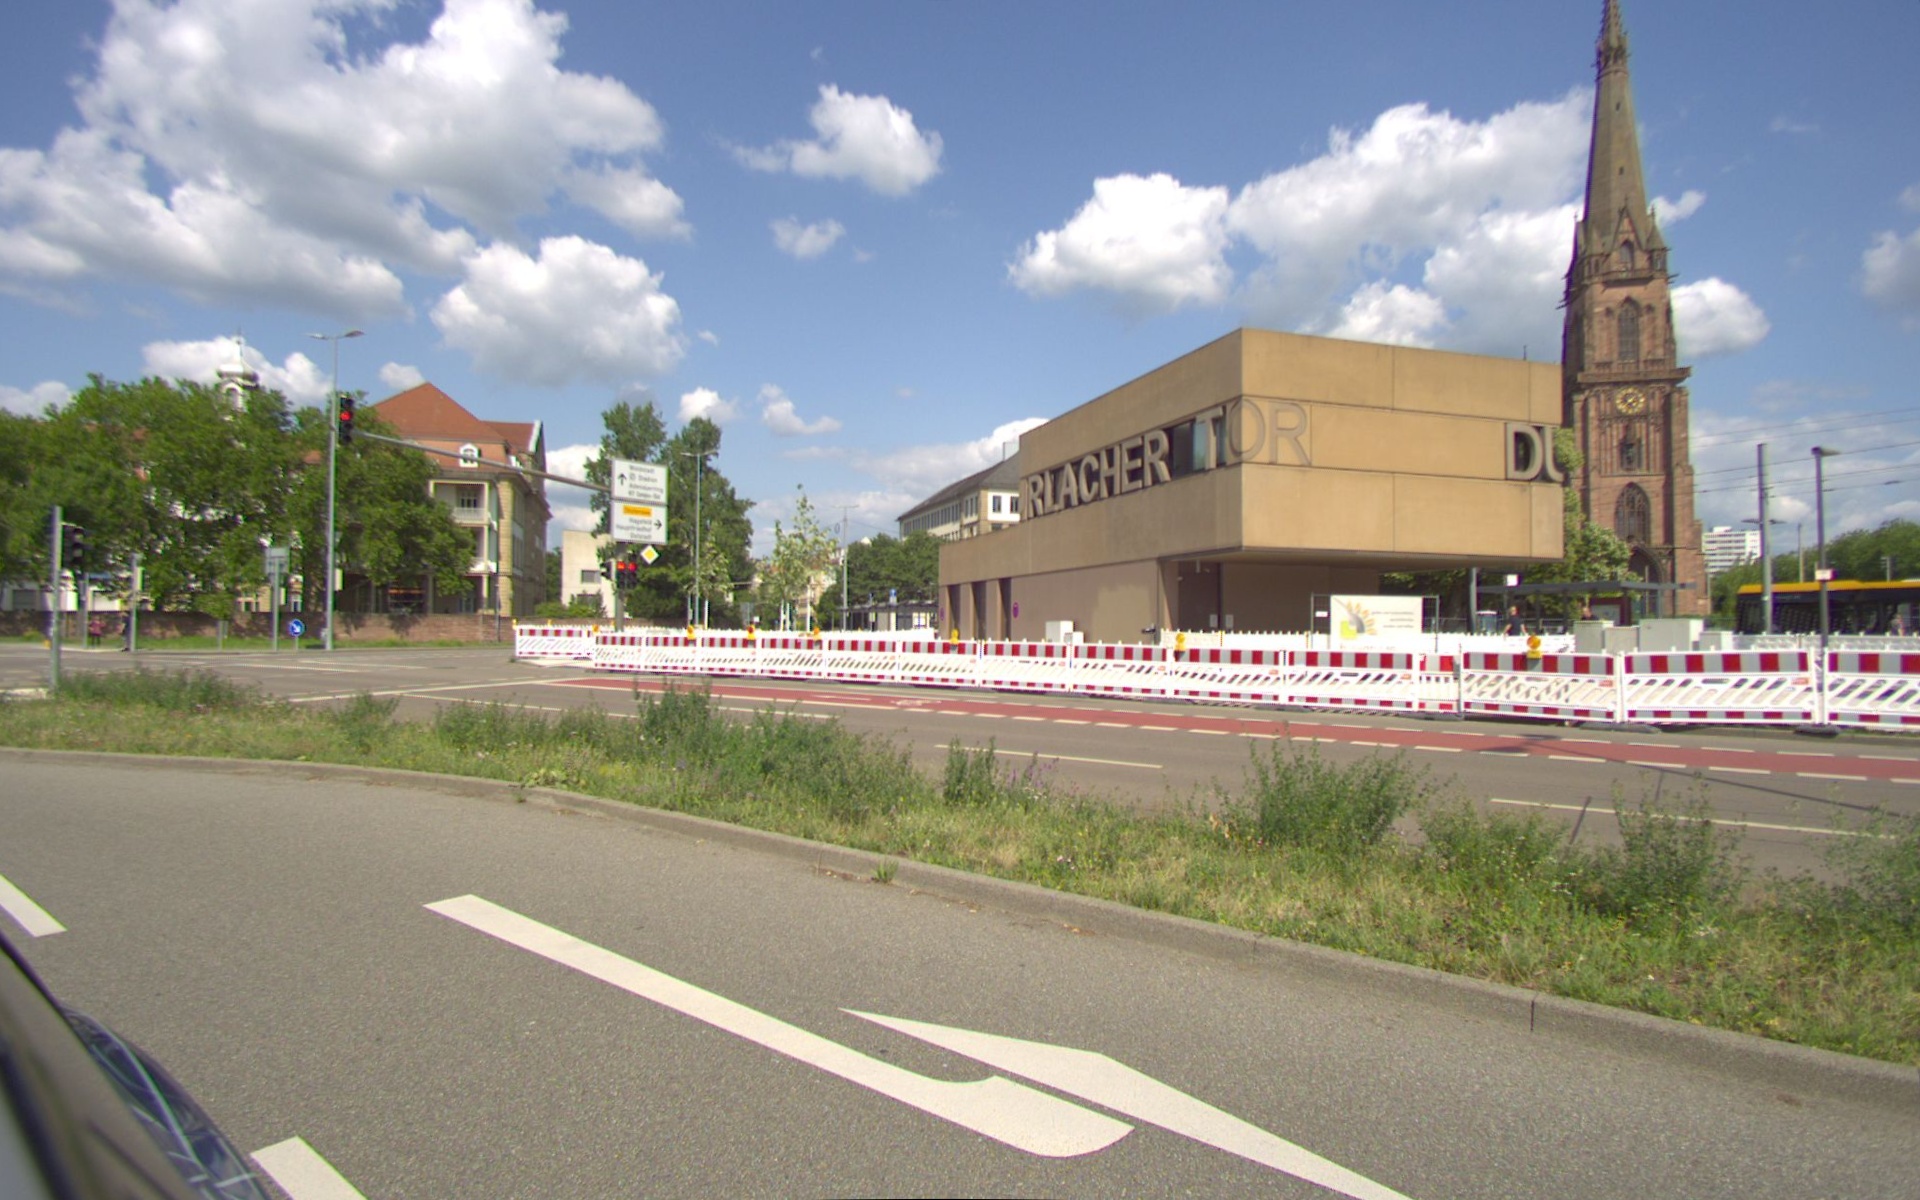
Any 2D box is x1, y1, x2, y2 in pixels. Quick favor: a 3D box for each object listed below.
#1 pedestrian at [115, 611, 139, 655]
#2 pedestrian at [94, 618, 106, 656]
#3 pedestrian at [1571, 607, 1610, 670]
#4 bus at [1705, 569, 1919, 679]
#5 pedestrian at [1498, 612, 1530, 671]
[{"bbox_3d":[-38.438,1.499,46.694,0.616,2.009,0.579,-1,0,13],"label":"pedestrian"},{"bbox_3d":[-40.014,1.706,47.081,0.363,1.745,0.452,-1,0,-31],"label":"pedestrian"},{"bbox_3d":[16.743,1.009,26.871,0.720,1.642,0.561,1,-2,-27],"label":"pedestrian"},{"bbox_3d":[29.126,0.698,29.266,2.785,3.160,12.880,1,-2,-18],"label":"bus"},{"bbox_3d":[15.682,1.177,28.655,0.763,1.644,0.646,-1,-2,30],"label":"pedestrian"}]
